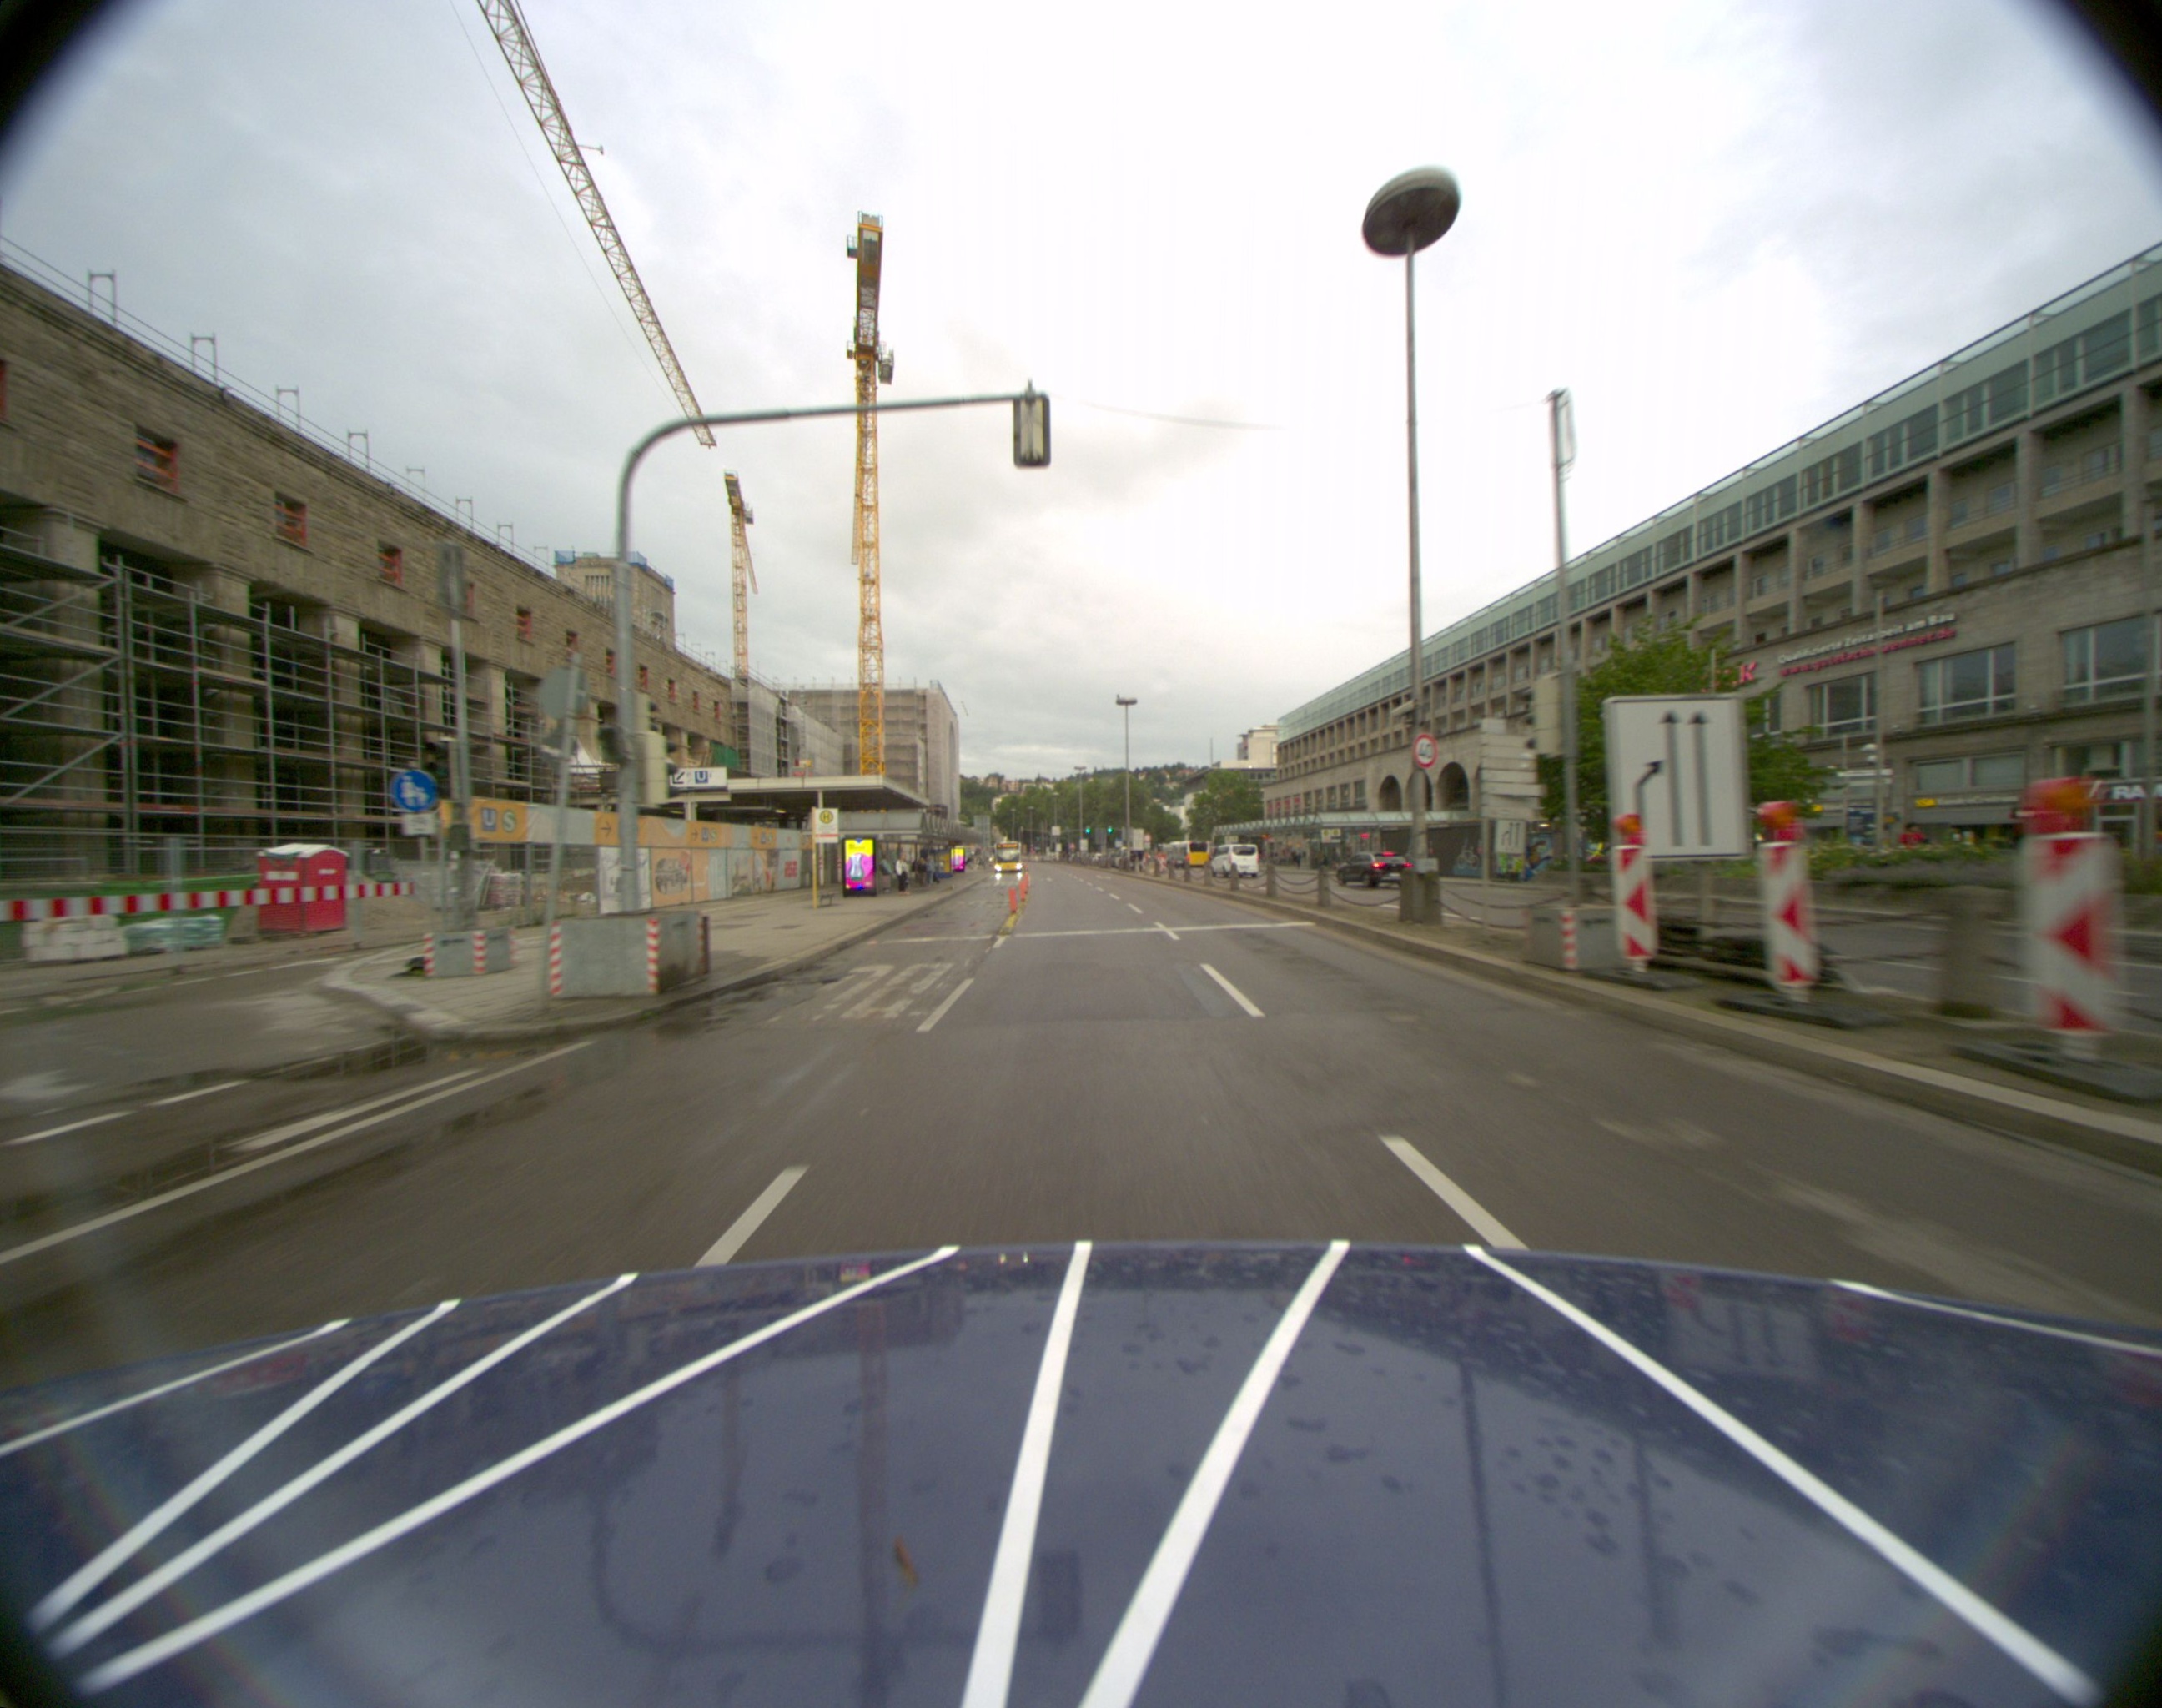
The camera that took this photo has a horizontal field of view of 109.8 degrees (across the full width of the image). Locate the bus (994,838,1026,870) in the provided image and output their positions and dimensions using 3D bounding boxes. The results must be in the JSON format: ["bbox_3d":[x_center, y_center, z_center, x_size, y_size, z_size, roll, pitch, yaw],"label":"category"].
[{"bbox_3d":[-7.154,0.004,77.154,3.000,3.119,7.762,-1,0,-5],"label":"bus"}]

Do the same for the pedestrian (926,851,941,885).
[{"bbox_3d":[-8.124,0.768,41.837,0.645,1.813,0.735,0,1,1],"label":"pedestrian"}]

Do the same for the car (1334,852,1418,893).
[{"bbox_3d":[12.692,0.748,32.976,1.887,1.674,3.998,0,0,-4],"label":"car"}]

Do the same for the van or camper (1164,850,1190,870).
[{"bbox_3d":[9.663,0.579,76.719,1.868,2.002,3.999,0,0,-3],"label":"van or camper"}]

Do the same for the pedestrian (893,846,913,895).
[{"bbox_3d":[-7.404,0.674,31.605,0.735,2.002,0.645,0,1,-8],"label":"pedestrian"}]

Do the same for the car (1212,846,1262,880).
[{"bbox_3d":[9.532,0.522,46.663,2.037,1.962,3.999,0,0,-3],"label":"car"}]

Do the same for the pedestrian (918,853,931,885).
[{"bbox_3d":[-8.266,0.809,40.172,0.545,1.684,0.558,0,1,1],"label":"pedestrian"}]

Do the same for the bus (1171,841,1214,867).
[{"bbox_3d":[13.148,-0.003,90.824,2.910,2.923,9.818,0,0,-5],"label":"bus"}]

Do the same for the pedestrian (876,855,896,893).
[{"bbox_3d":[-8.703,0.889,33.953,0.681,1.684,0.619,0,1,3],"label":"pedestrian"}]
